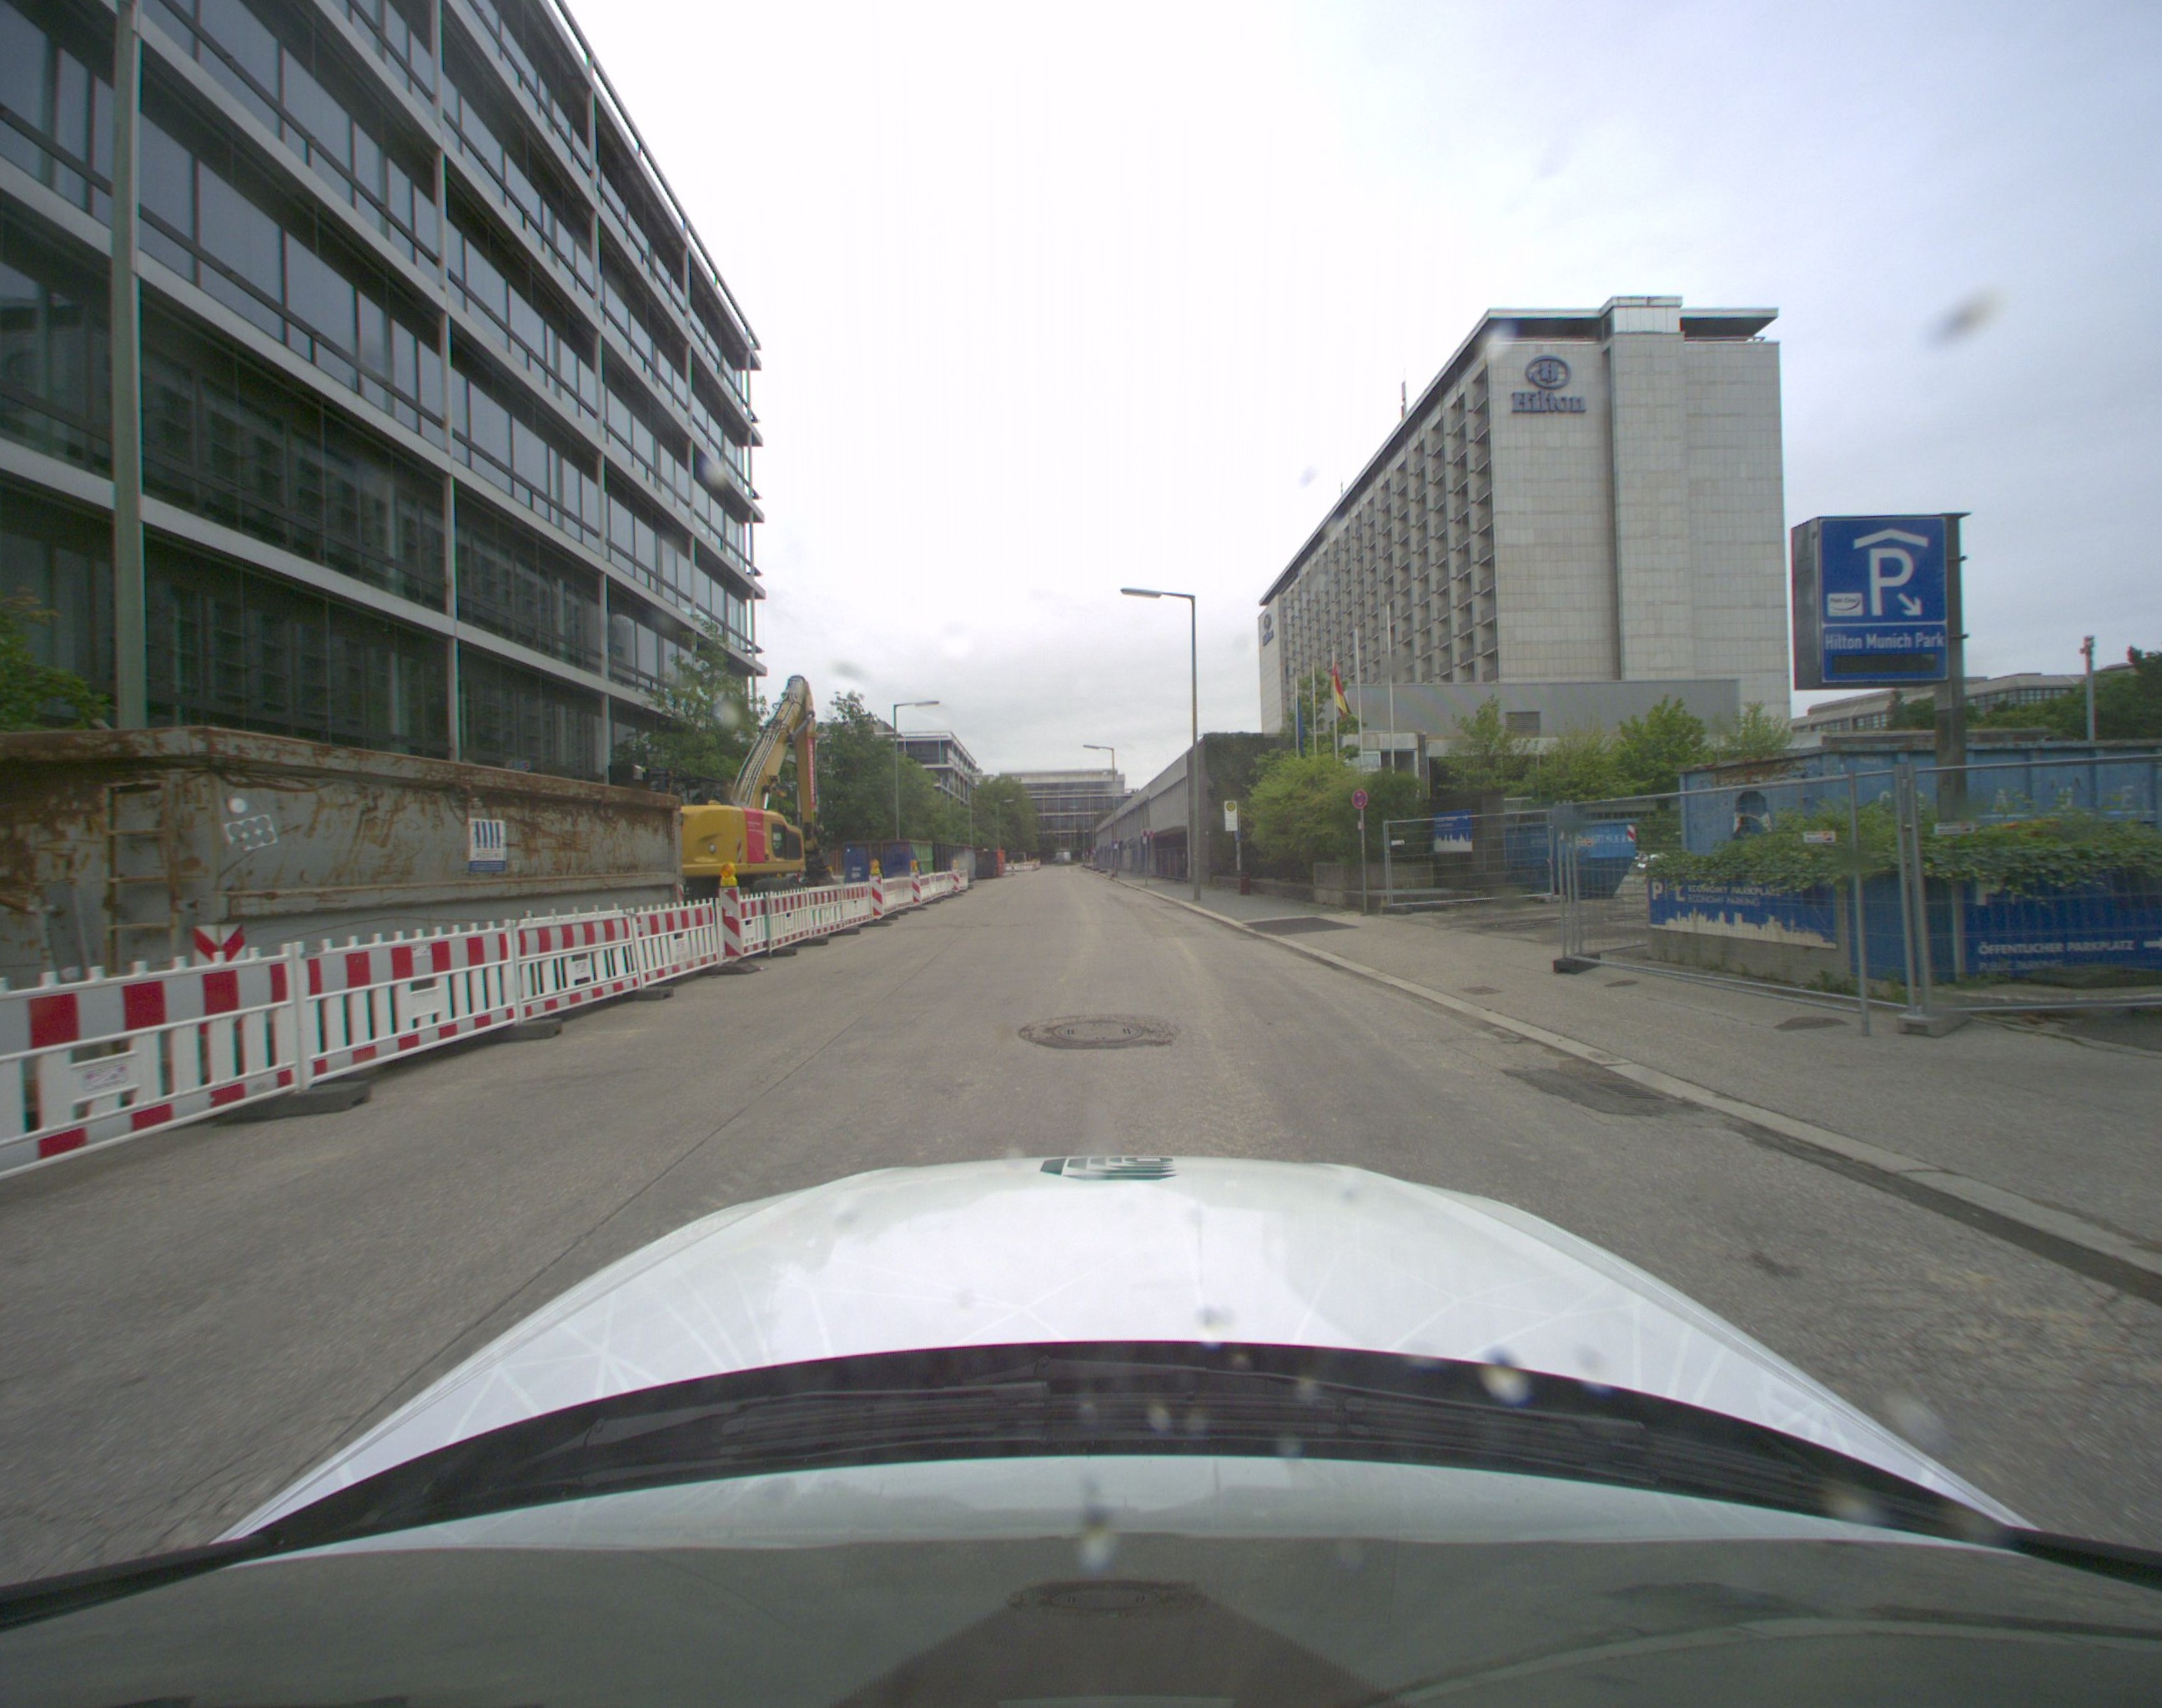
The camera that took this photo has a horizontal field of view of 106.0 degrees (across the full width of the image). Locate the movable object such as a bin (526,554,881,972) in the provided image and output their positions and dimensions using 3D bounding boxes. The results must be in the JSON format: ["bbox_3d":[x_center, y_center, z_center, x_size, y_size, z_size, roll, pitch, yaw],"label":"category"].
[{"bbox_3d":[-7.424,-1.442,18.799,2.897,6.564,11.774,-2,0,-2],"label":"movable object such as a bin"}]

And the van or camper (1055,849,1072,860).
[{"bbox_3d":[-4.098,0.032,192.488,2.097,2.492,5.022,-2,0,-27],"label":"van or camper"}]

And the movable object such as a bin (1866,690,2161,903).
[{"bbox_3d":[20.836,-1.109,17.519,7.200,3.683,3.853,-3,0,-31],"label":"movable object such as a bin"}]
